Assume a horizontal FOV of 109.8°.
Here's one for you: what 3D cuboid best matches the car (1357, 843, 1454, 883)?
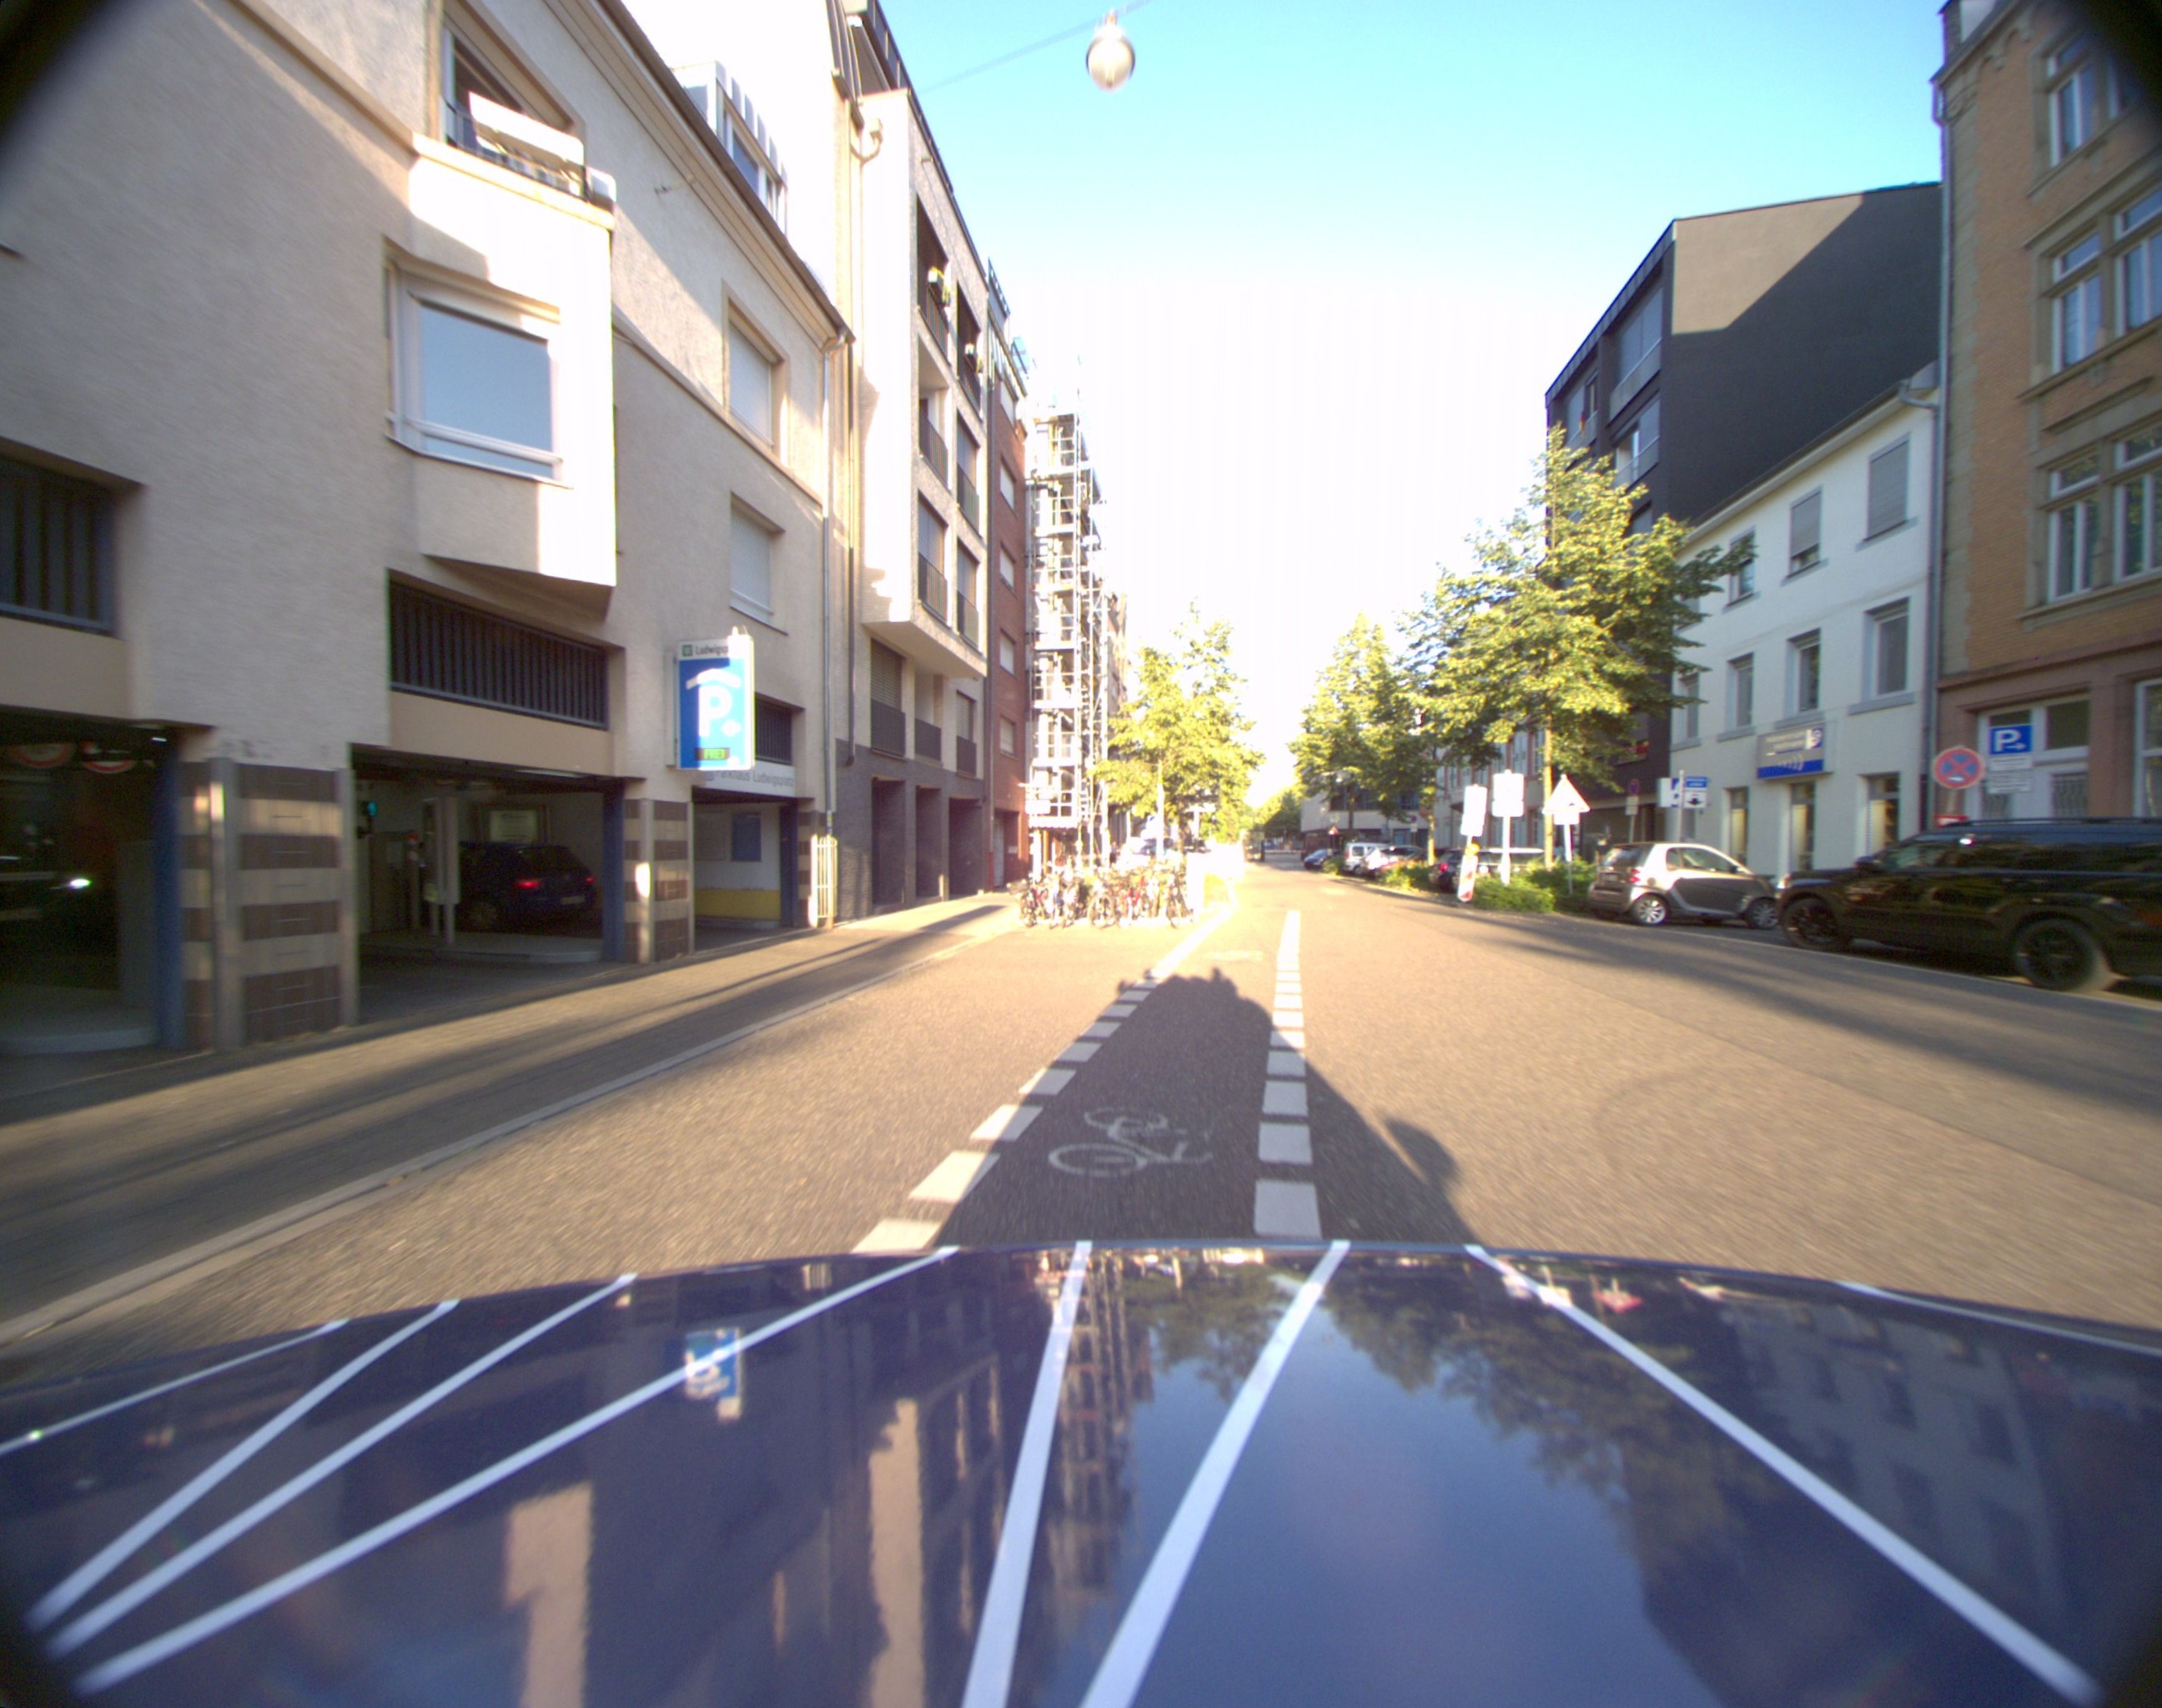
[{"bbox_3d":[14.746,0.361,34.717,3.691,1.660,1.859,2,1,8],"label":"car"}]

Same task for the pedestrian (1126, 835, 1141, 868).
[{"bbox_3d":[2.846,-0.134,40.928,0.742,1.773,0.657,0,1,9],"label":"pedestrian"}]

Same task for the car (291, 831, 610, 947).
[{"bbox_3d":[-10.075,0.484,12.249,4.111,1.554,1.695,2,2,10],"label":"car"}]

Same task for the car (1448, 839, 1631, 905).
[{"bbox_3d":[12.886,0.472,21.604,4.002,1.660,1.859,2,1,8],"label":"car"}]

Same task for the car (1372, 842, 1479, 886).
[{"bbox_3d":[14.466,0.394,32.116,3.691,1.660,1.859,2,1,8],"label":"car"}]

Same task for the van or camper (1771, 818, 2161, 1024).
[{"bbox_3d":[10.567,0.563,8.477,1.893,1.797,4.462,1,1,5],"label":"van or camper"}]

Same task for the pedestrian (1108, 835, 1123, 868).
[{"bbox_3d":[1.851,-0.117,40.995,0.742,1.773,0.657,0,1,11],"label":"pedestrian"}]

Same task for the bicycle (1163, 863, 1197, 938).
[{"bbox_3d":[1.775,0.785,13.520,0.498,1.213,1.553,1,1,11],"label":"bicycle"}]

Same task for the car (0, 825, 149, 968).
[{"bbox_3d":[-14.317,0.467,9.311,4.292,1.615,1.893,0,1,12],"label":"car"}]

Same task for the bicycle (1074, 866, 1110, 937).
[{"bbox_3d":[0.212,0.821,13.730,0.381,1.153,1.553,1,1,11],"label":"bicycle"}]

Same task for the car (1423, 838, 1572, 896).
[{"bbox_3d":[13.076,0.373,24.077,3.691,1.660,1.859,2,1,8],"label":"car"}]

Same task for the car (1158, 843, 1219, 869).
[{"bbox_3d":[7.336,0.089,51.745,3.993,1.674,1.892,1,1,13],"label":"car"}]

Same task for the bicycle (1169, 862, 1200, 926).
[{"bbox_3d":[2.096,0.773,15.266,0.508,1.172,1.553,1,1,11],"label":"bicycle"}]

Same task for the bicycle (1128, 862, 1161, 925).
[{"bbox_3d":[1.298,0.769,15.403,0.488,1.156,1.553,1,1,11],"label":"bicycle"}]

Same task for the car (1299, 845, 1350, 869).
[{"bbox_3d":[16.769,0.201,52.309,1.852,1.559,3.705,3,2,44],"label":"car"}]

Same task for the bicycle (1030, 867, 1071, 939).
[{"bbox_3d":[-0.538,0.859,13.883,0.387,1.182,1.553,1,1,11],"label":"bicycle"}]

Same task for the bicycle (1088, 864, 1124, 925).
[{"bbox_3d":[0.518,0.791,15.409,0.488,1.143,1.553,1,1,11],"label":"bicycle"}]

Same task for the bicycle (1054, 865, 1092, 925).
[{"bbox_3d":[-0.149,0.811,15.649,0.468,1.137,1.553,1,1,11],"label":"bicycle"}]

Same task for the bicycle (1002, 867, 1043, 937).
[{"bbox_3d":[-1.067,0.854,14.006,0.387,1.176,1.406,1,1,11],"label":"bicycle"}]

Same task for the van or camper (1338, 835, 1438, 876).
[{"bbox_3d":[15.931,0.057,39.640,4.448,1.994,1.859,2,1,8],"label":"van or camper"}]

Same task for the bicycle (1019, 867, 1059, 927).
[{"bbox_3d":[-0.850,0.855,15.727,0.458,1.125,1.553,1,1,11],"label":"bicycle"}]

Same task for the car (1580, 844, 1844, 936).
[{"bbox_3d":[11.554,0.605,14.127,3.476,1.567,1.508,1,1,8],"label":"car"}]

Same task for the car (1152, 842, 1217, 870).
[{"bbox_3d":[6.687,0.106,49.126,3.993,1.674,1.892,1,1,13],"label":"car"}]

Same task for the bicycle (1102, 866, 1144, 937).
[{"bbox_3d":[0.781,0.822,13.690,0.417,1.150,1.554,1,1,16],"label":"bicycle"}]
